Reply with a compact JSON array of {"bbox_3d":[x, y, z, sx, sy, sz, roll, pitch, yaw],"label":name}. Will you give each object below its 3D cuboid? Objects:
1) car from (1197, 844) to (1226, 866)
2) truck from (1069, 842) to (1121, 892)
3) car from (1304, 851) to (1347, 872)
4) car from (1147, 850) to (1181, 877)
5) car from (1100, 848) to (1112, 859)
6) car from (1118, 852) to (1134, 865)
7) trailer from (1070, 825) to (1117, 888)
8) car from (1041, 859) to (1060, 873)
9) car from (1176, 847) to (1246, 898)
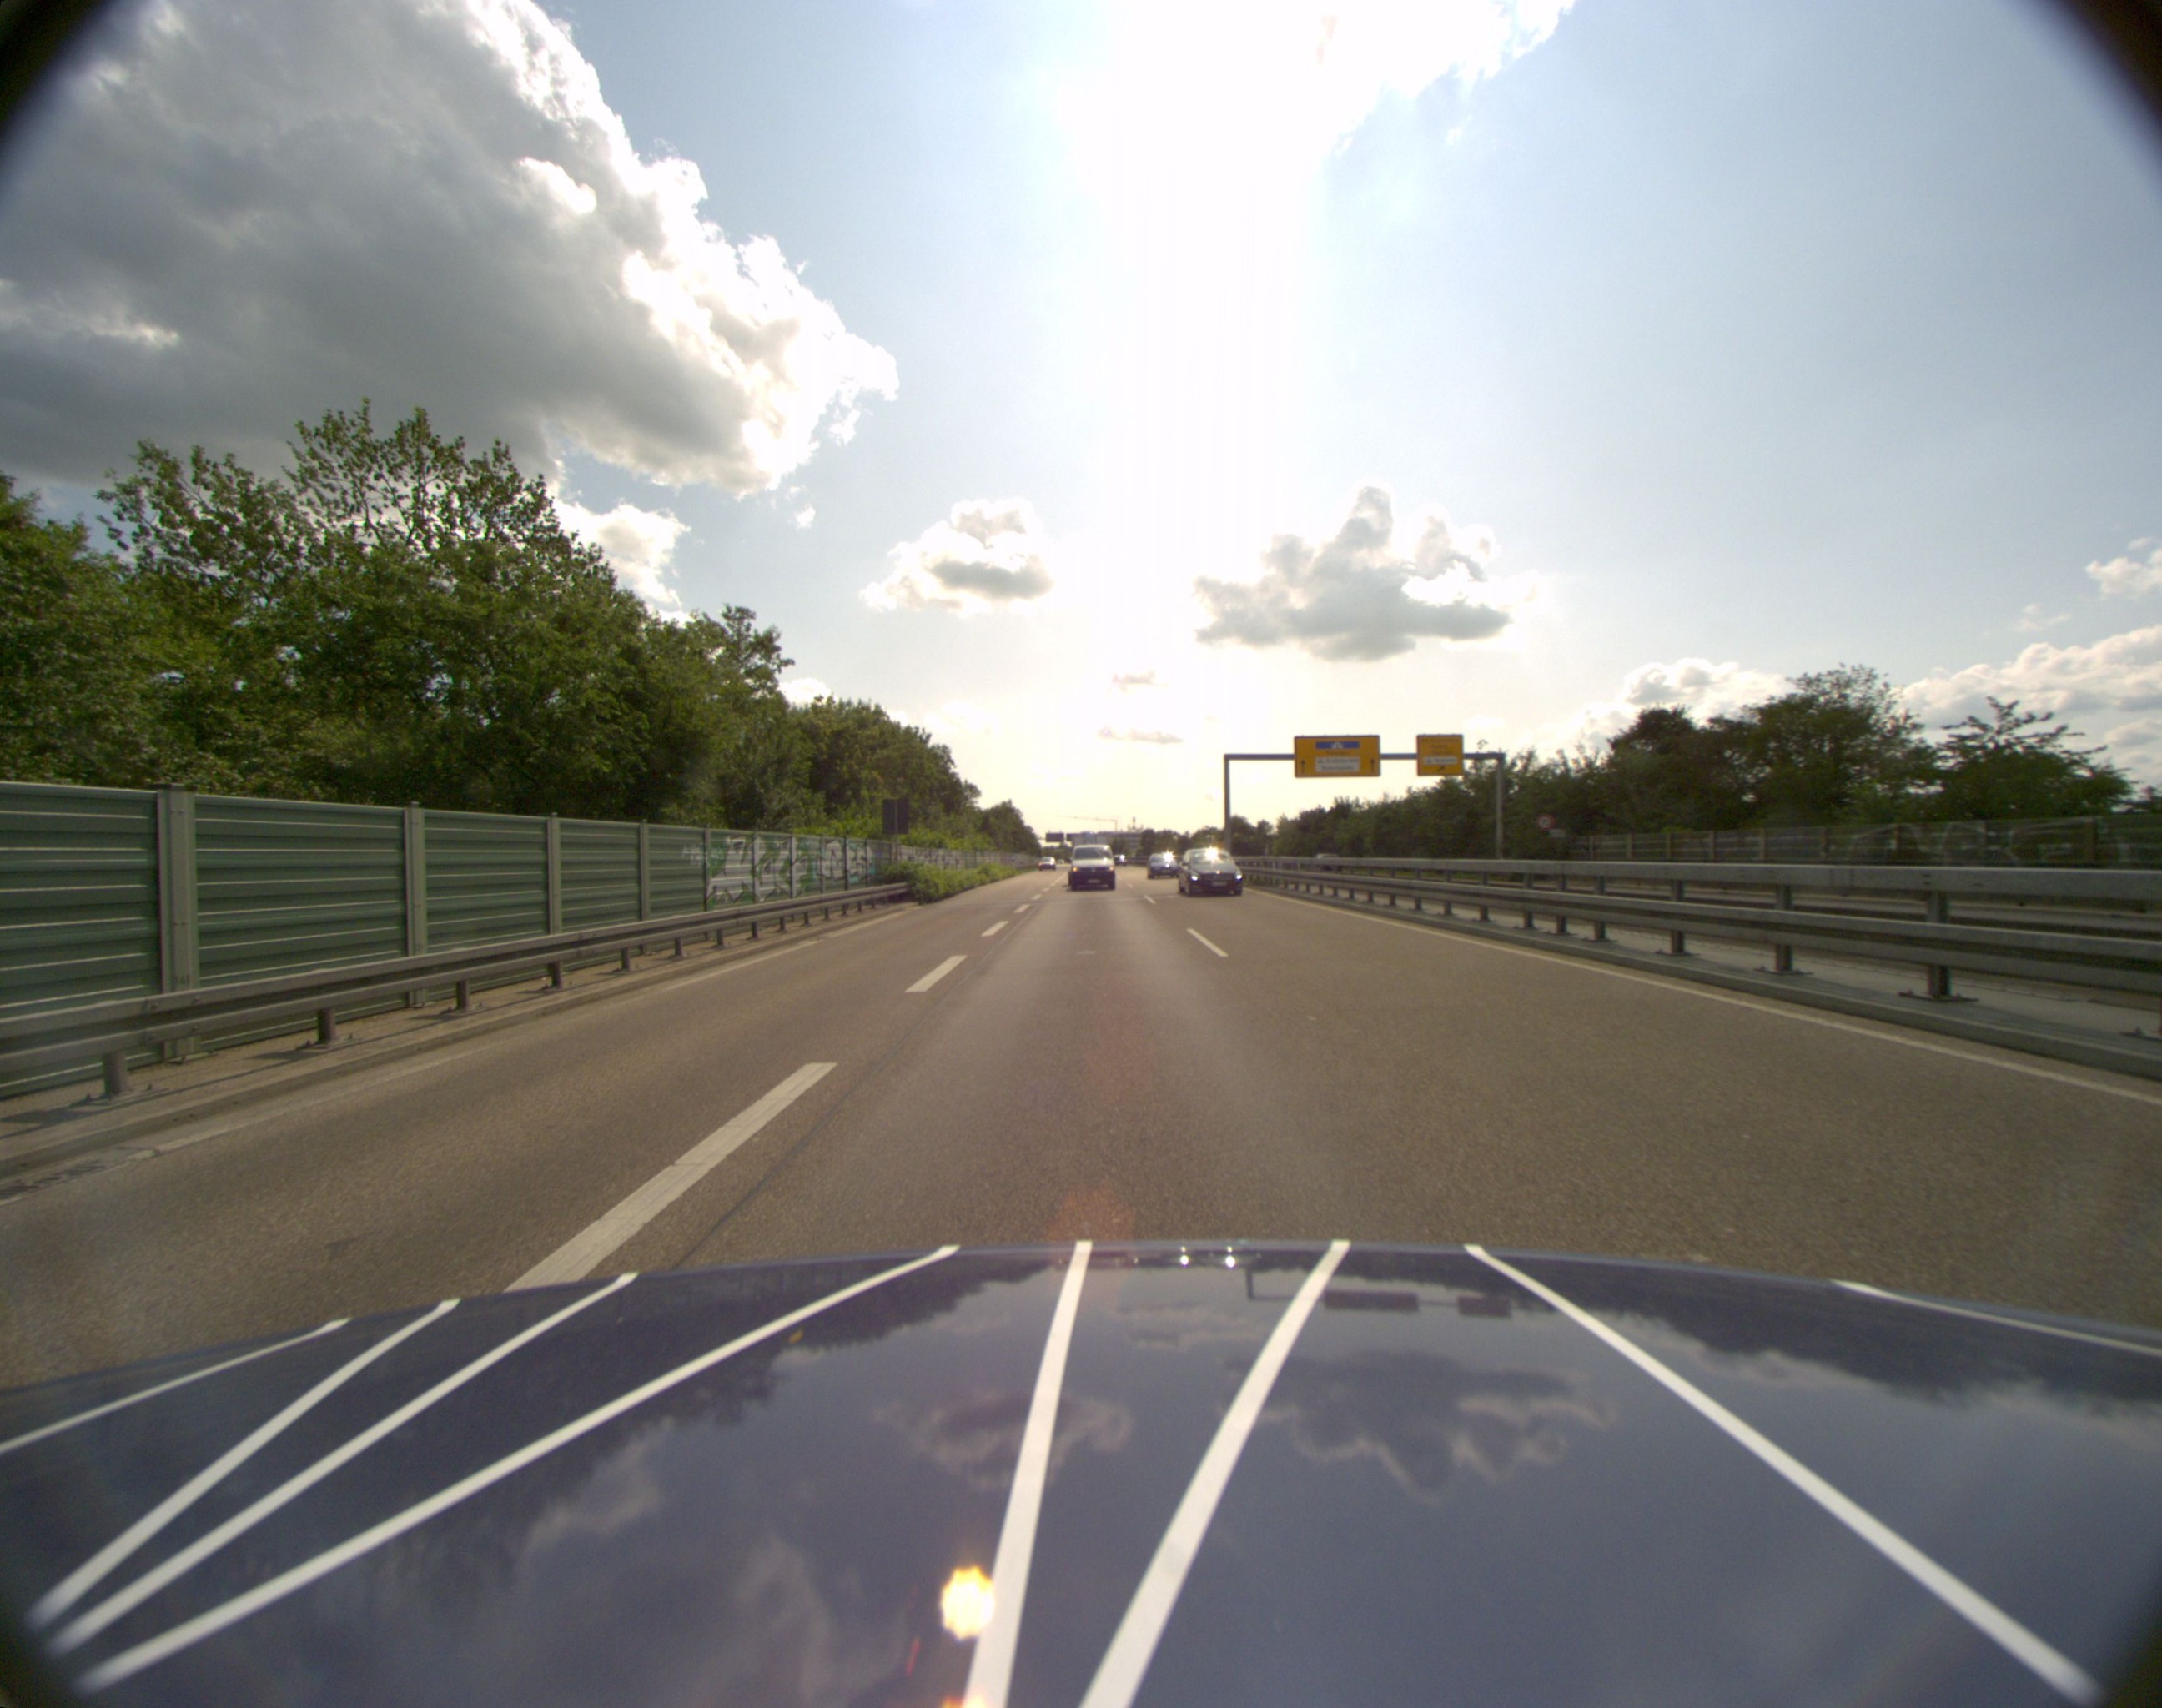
[{"bbox_3d":[12.756,0.072,74.558,2.084,1.978,5.227,0,2,1],"label":"car"},{"bbox_3d":[0.587,0.506,32.034,2.008,1.905,4.000,-1,1,1],"label":"truck"},{"bbox_3d":[18.476,0.536,57.535,1.693,1.423,4.401,-2,1,-2],"label":"car"},{"bbox_3d":[4.857,0.519,44.822,1.625,1.404,3.771,-2,1,1],"label":"car"},{"bbox_3d":[4.100,-0.093,125.467,1.895,1.519,4.464,-2,1,1],"label":"car"},{"bbox_3d":[5.800,0.583,98.411,1.779,1.519,4.464,-2,1,1],"label":"car"},{"bbox_3d":[0.597,0.059,37.065,1.998,2.723,5.966,-2,1,1],"label":"trailer"},{"bbox_3d":[-3.316,1.284,83.551,1.768,1.404,3.771,-2,1,1],"label":"car"},{"bbox_3d":[4.404,0.578,26.368,1.716,1.519,4.592,-2,1,1],"label":"car"}]
